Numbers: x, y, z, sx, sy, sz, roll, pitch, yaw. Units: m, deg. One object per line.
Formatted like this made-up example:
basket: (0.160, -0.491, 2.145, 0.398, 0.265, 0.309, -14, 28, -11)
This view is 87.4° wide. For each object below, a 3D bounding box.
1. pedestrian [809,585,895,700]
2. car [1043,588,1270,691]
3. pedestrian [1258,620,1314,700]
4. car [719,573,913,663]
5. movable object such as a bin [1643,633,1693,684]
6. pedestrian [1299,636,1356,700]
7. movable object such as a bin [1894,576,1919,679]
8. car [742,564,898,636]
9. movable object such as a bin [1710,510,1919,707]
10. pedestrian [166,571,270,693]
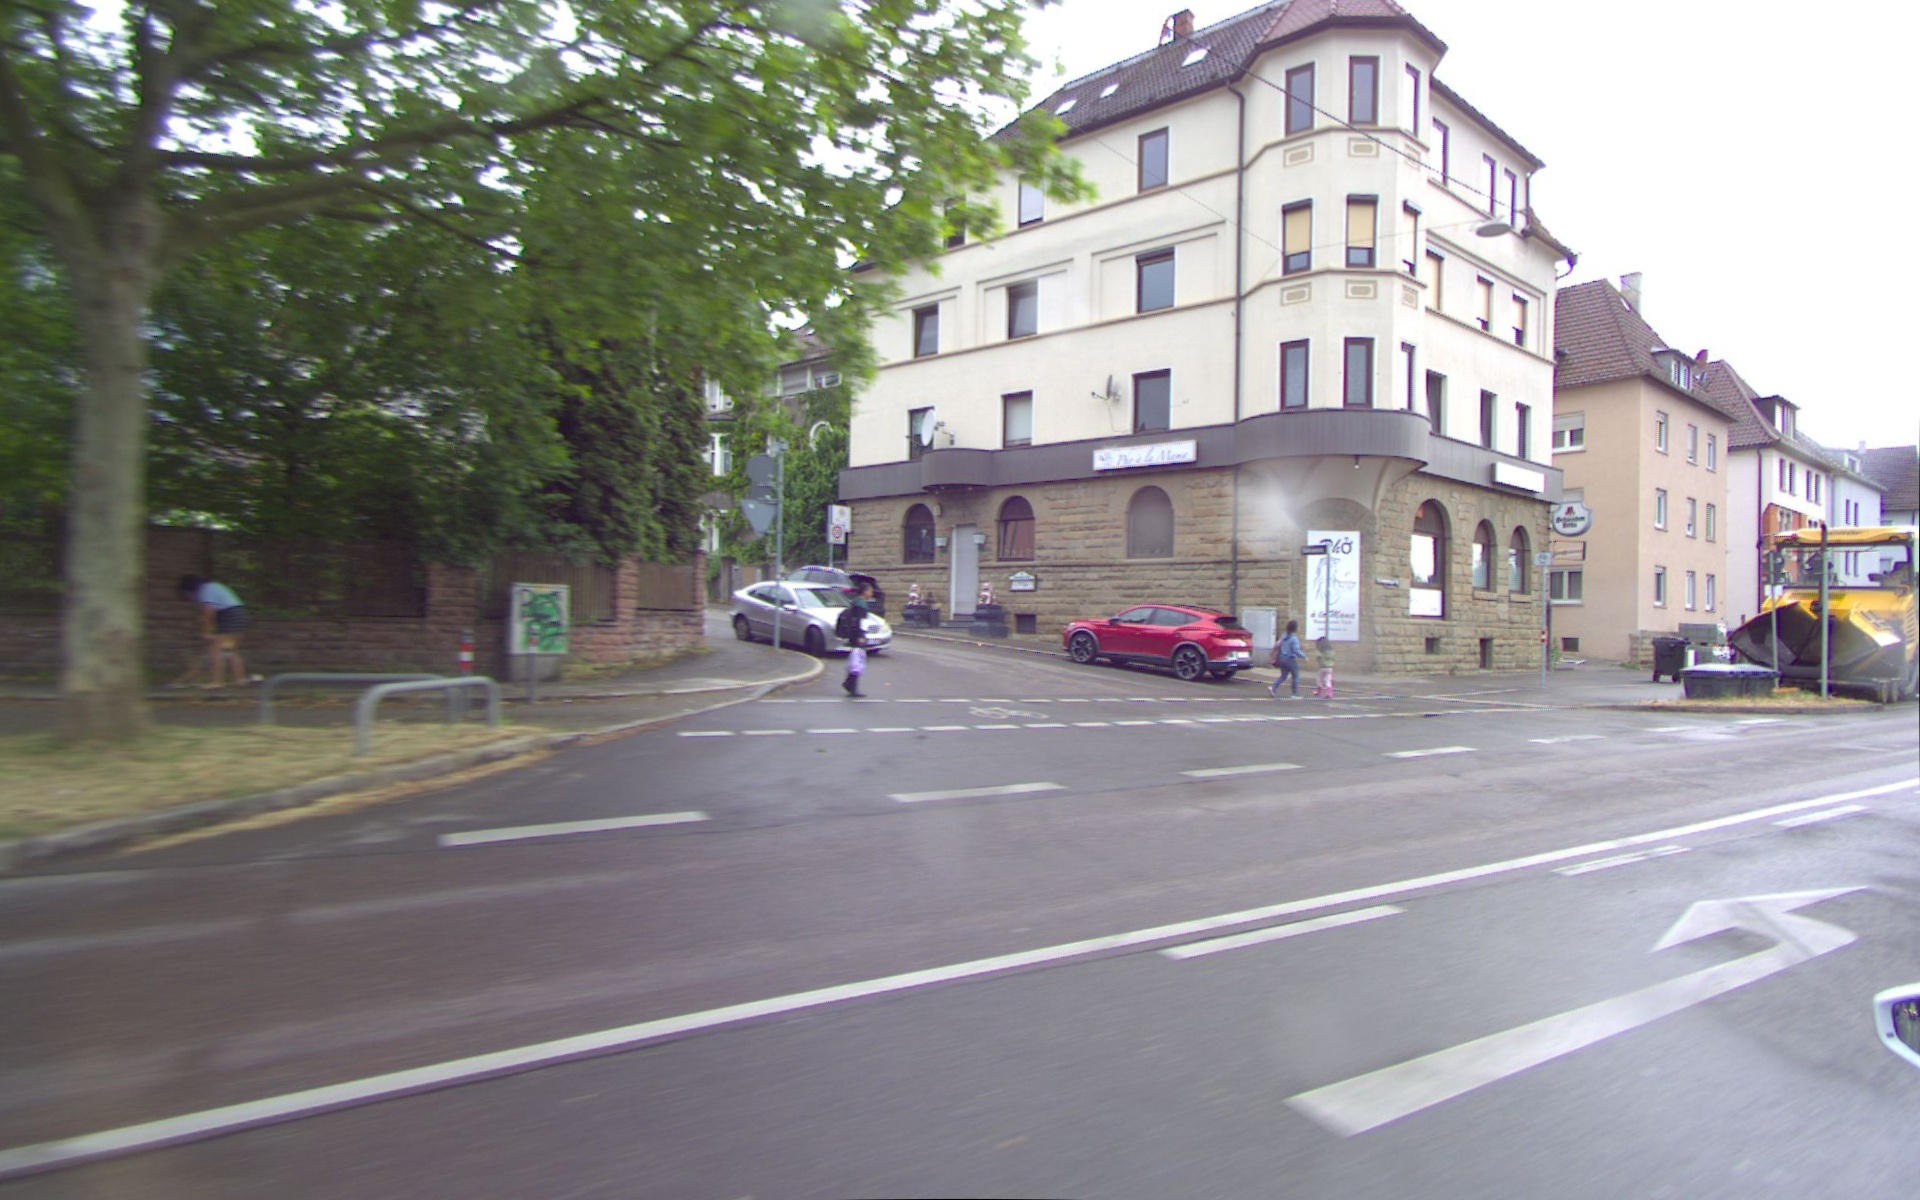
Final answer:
pedestrian: (-1.621, 0.599, 15.074, 0.986, 1.652, 0.880, -1, 1, -37)
car: (4.270, 0.764, 22.245, 4.478, 1.595, 1.927, 8, 6, 40)
pedestrian: (6.082, 1.097, 18.716, 0.770, 1.420, 0.804, 1, 1, 38)
car: (-3.170, 0.310, 21.599, 4.206, 1.404, 1.876, 8, 6, 43)
movable object such as a bin: (18.561, 1.522, 26.367, 0.877, 1.239, 1.202, 1, 1, 26)
pedestrian: (7.028, 1.284, 19.225, 0.721, 1.139, 0.741, 0, 1, -21)
movable object such as a bin: (31.868, 0.872, 31.645, 4.086, 3.216, 2.851, 0, 1, -37)
car: (-4.173, -0.053, 29.522, 4.477, 1.595, 2.067, 8, 6, 40)
movable object such as a bin: (19.860, 0.127, 22.749, 5.923, 3.908, 2.758, -1, 1, -34)
pedestrian: (-8.684, 0.348, 11.794, 0.779, 1.373, 0.789, 0, 1, -22)
